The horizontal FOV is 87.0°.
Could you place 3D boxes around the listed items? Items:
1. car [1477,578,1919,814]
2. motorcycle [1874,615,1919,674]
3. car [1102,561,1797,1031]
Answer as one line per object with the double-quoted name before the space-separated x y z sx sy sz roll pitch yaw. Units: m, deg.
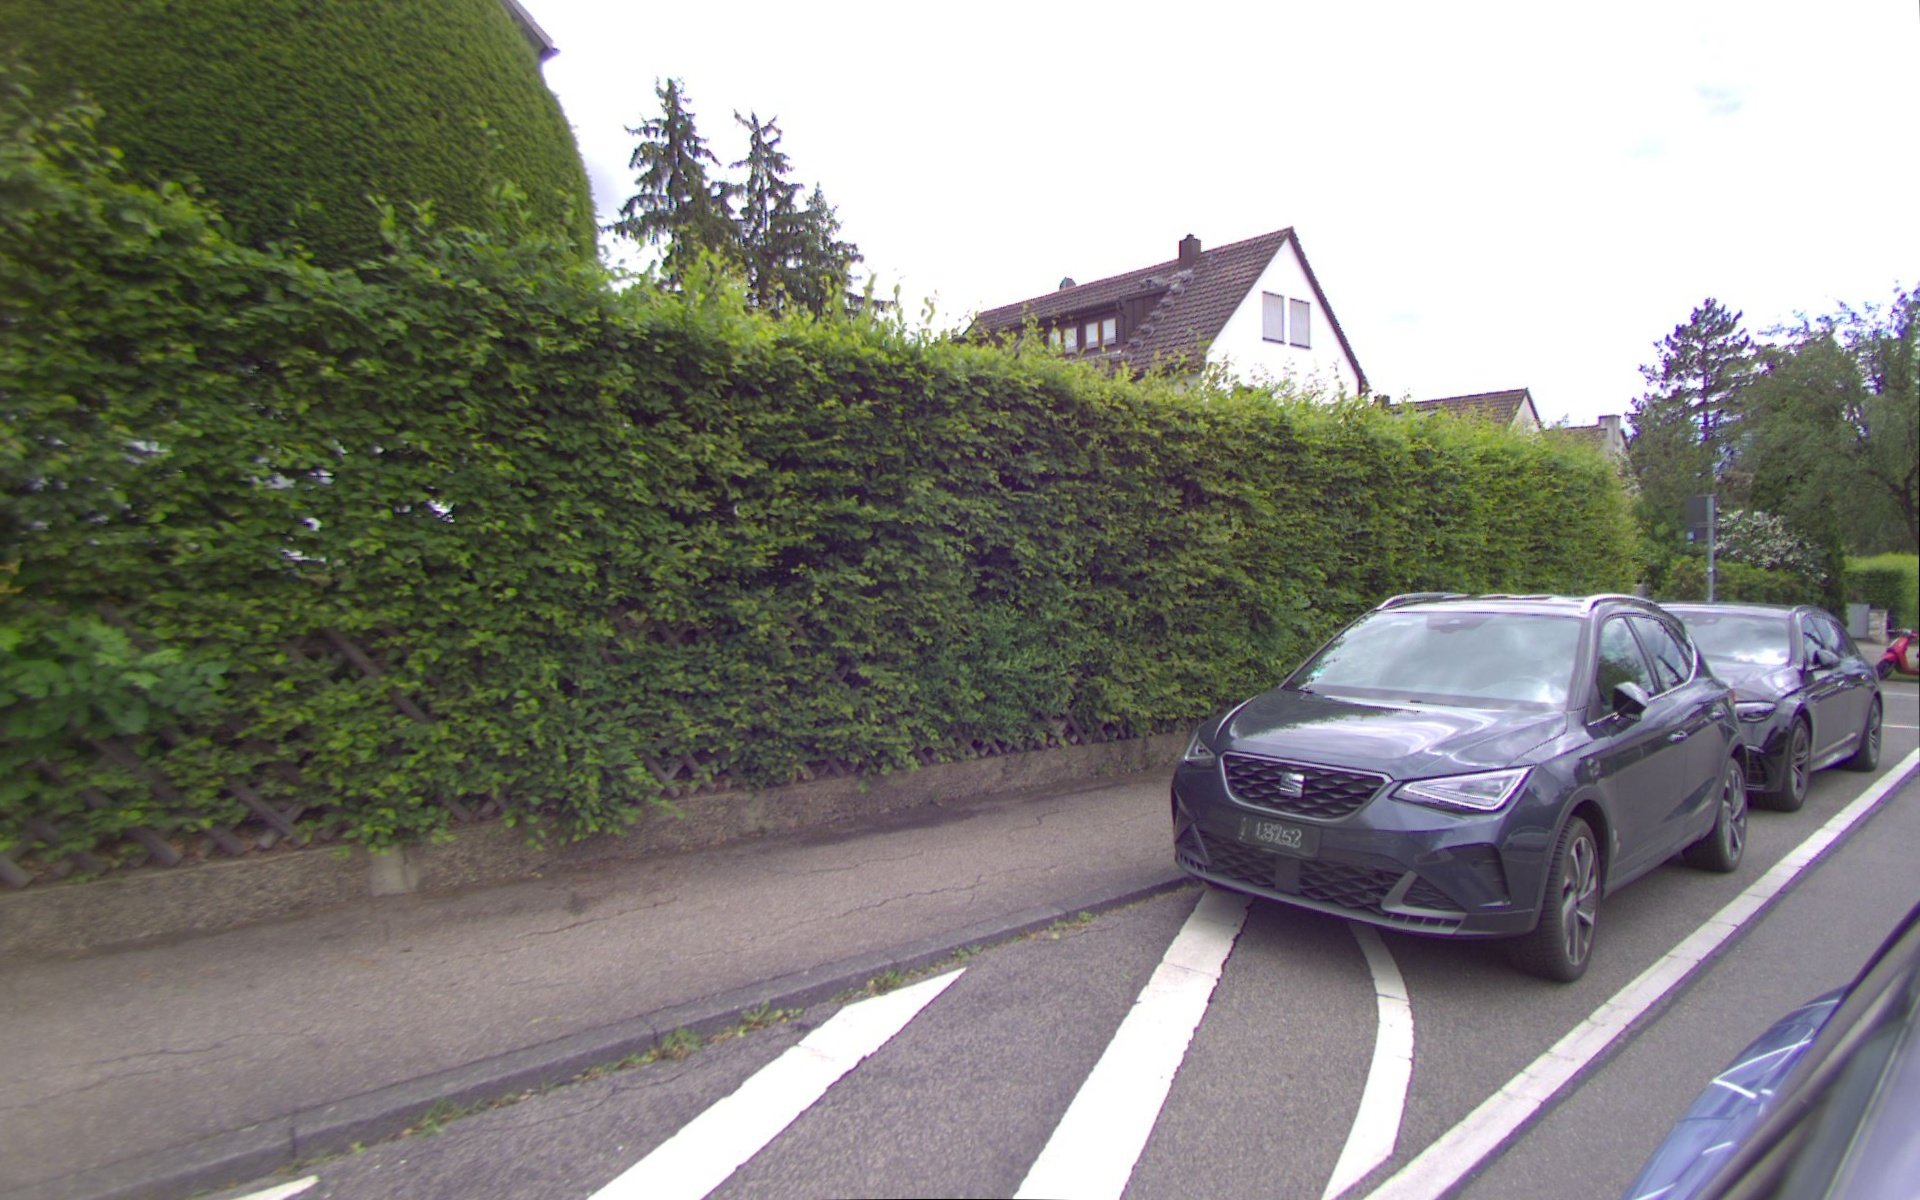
"car" 6.779 0.627 9.031 5.114 1.512 1.928 0 2 -39
"motorcycle" 20.310 0.962 20.928 1.917 1.147 0.655 3 2 22
"car" 2.865 0.616 5.398 4.303 1.507 1.793 0 2 -42
